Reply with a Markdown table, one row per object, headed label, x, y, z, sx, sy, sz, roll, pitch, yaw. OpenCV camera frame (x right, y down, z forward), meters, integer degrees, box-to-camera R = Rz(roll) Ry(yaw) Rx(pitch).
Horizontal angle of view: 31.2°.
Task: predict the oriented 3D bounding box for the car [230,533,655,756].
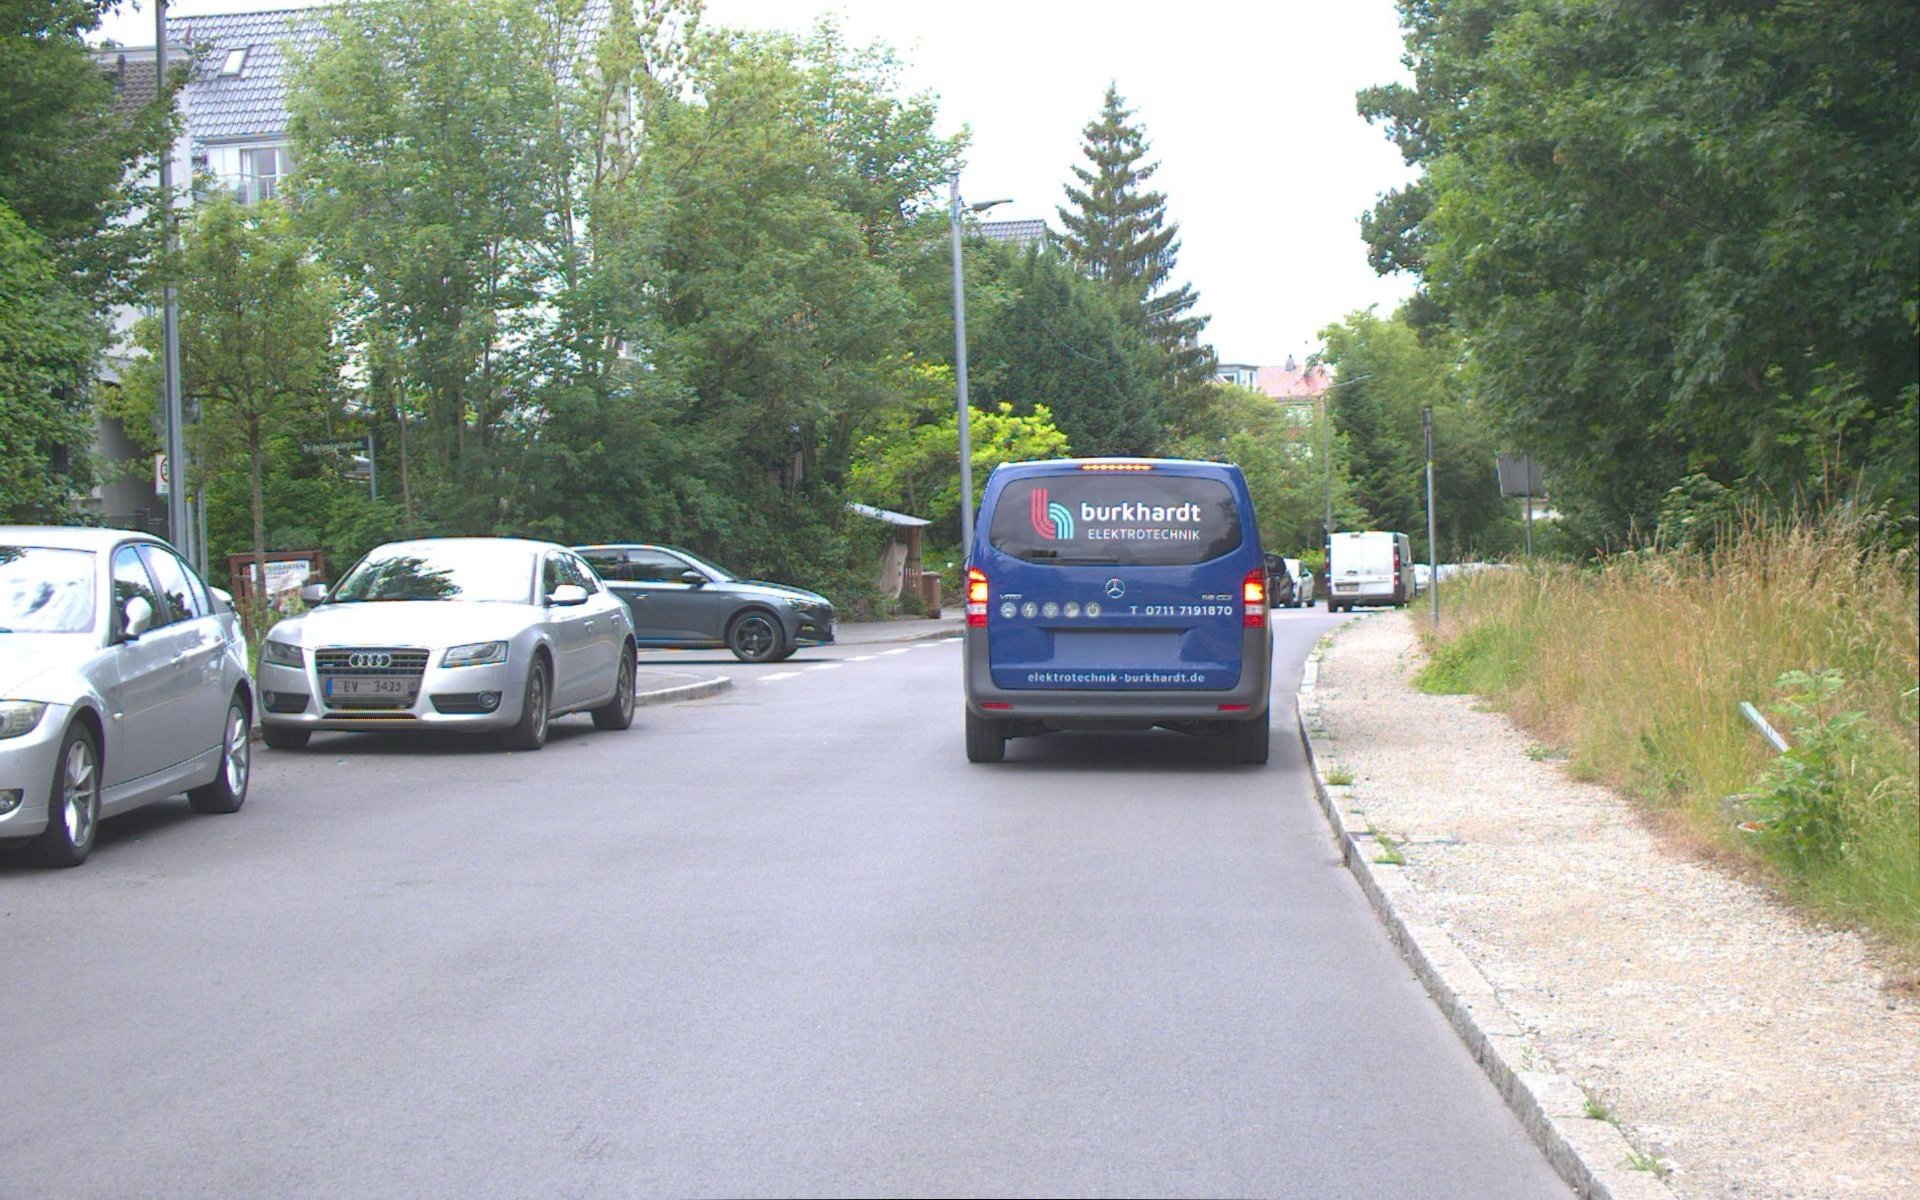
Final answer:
| label | x | y | z | sx | sy | sz | roll | pitch | yaw |
| --- | --- | --- | --- | --- | --- | --- | --- | --- | --- |
| car | -3.433 | 0.233 | 23.667 | 1.832 | 1.369 | 4.444 | 1 | 1 | 6 |

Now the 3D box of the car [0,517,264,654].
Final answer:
| label | x | y | z | sx | sy | sz | roll | pitch | yaw |
| --- | --- | --- | --- | --- | --- | --- | --- | --- | --- |
| car | -11.452 | -0.180 | 43.100 | 4.937 | 1.664 | 2.037 | 0 | 0 | 8 |

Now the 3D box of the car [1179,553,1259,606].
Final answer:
| label | x | y | z | sx | sy | sz | roll | pitch | yaw |
| --- | --- | --- | --- | --- | --- | --- | --- | --- | --- |
| car | 6.966 | -0.558 | 92.126 | 1.749 | 1.400 | 3.998 | 0 | 1 | 10 |

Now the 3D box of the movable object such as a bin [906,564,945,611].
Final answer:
| label | x | y | z | sx | sy | sz | roll | pitch | yaw |
| --- | --- | --- | --- | --- | --- | --- | --- | --- | --- |
| movable object such as a bin | -0.666 | -0.244 | 67.024 | 0.591 | 0.906 | 0.700 | 0 | 0 | 15 |

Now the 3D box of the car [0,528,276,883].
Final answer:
| label | x | y | z | sx | sy | sz | roll | pitch | yaw |
| --- | --- | --- | --- | --- | --- | --- | --- | --- | --- |
| car | -4.465 | 0.365 | 15.593 | 1.775 | 1.369 | 4.341 | 1 | 1 | 1 |

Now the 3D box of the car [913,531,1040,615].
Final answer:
| label | x | y | z | sx | sy | sz | roll | pitch | yaw |
| --- | --- | --- | --- | --- | --- | --- | --- | --- | --- |
| car | 0.335 | -0.490 | 62.401 | 1.706 | 1.463 | 4.074 | 0 | 1 | 9 |

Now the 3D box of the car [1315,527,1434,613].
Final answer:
| label | x | y | z | sx | sy | sz | roll | pitch | yaw |
| --- | --- | --- | --- | --- | --- | --- | --- | --- | --- |
| car | 10.348 | -0.775 | 85.414 | 2.207 | 2.056 | 6.131 | 0 | 1 | 14 |

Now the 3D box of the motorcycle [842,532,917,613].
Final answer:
| label | x | y | z | sx | sy | sz | roll | pitch | yaw |
| --- | --- | --- | --- | --- | --- | --- | --- | --- | --- |
| motorcycle | -1.506 | -0.523 | 65.037 | 0.810 | 1.480 | 2.894 | 0 | 1 | 11 |

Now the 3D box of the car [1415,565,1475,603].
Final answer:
| label | x | y | z | sx | sy | sz | roll | pitch | yaw |
| --- | --- | --- | --- | --- | --- | --- | --- | --- | --- |
| car | 18.047 | -0.604 | 127.779 | 1.750 | 1.400 | 3.997 | 0 | 1 | 15 |

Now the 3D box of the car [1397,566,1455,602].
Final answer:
| label | x | y | z | sx | sy | sz | roll | pitch | yaw |
| --- | --- | --- | --- | --- | --- | --- | --- | --- | --- |
| car | 18.296 | -0.642 | 134.832 | 1.750 | 1.400 | 3.997 | 0 | 1 | 15 |

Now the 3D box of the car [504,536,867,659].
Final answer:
| label | x | y | z | sx | sy | sz | roll | pitch | yaw |
| --- | --- | --- | --- | --- | --- | --- | --- | --- | --- |
| car | -3.311 | -0.040 | 41.919 | 4.167 | 1.442 | 1.740 | 0 | 1 | 6 |

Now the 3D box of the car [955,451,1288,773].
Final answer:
| label | x | y | z | sx | sy | sz | roll | pitch | yaw |
| --- | --- | --- | --- | --- | --- | --- | --- | --- | --- |
| car | 1.084 | 0.035 | 22.420 | 1.936 | 1.873 | 4.530 | 0 | 1 | 4 |
